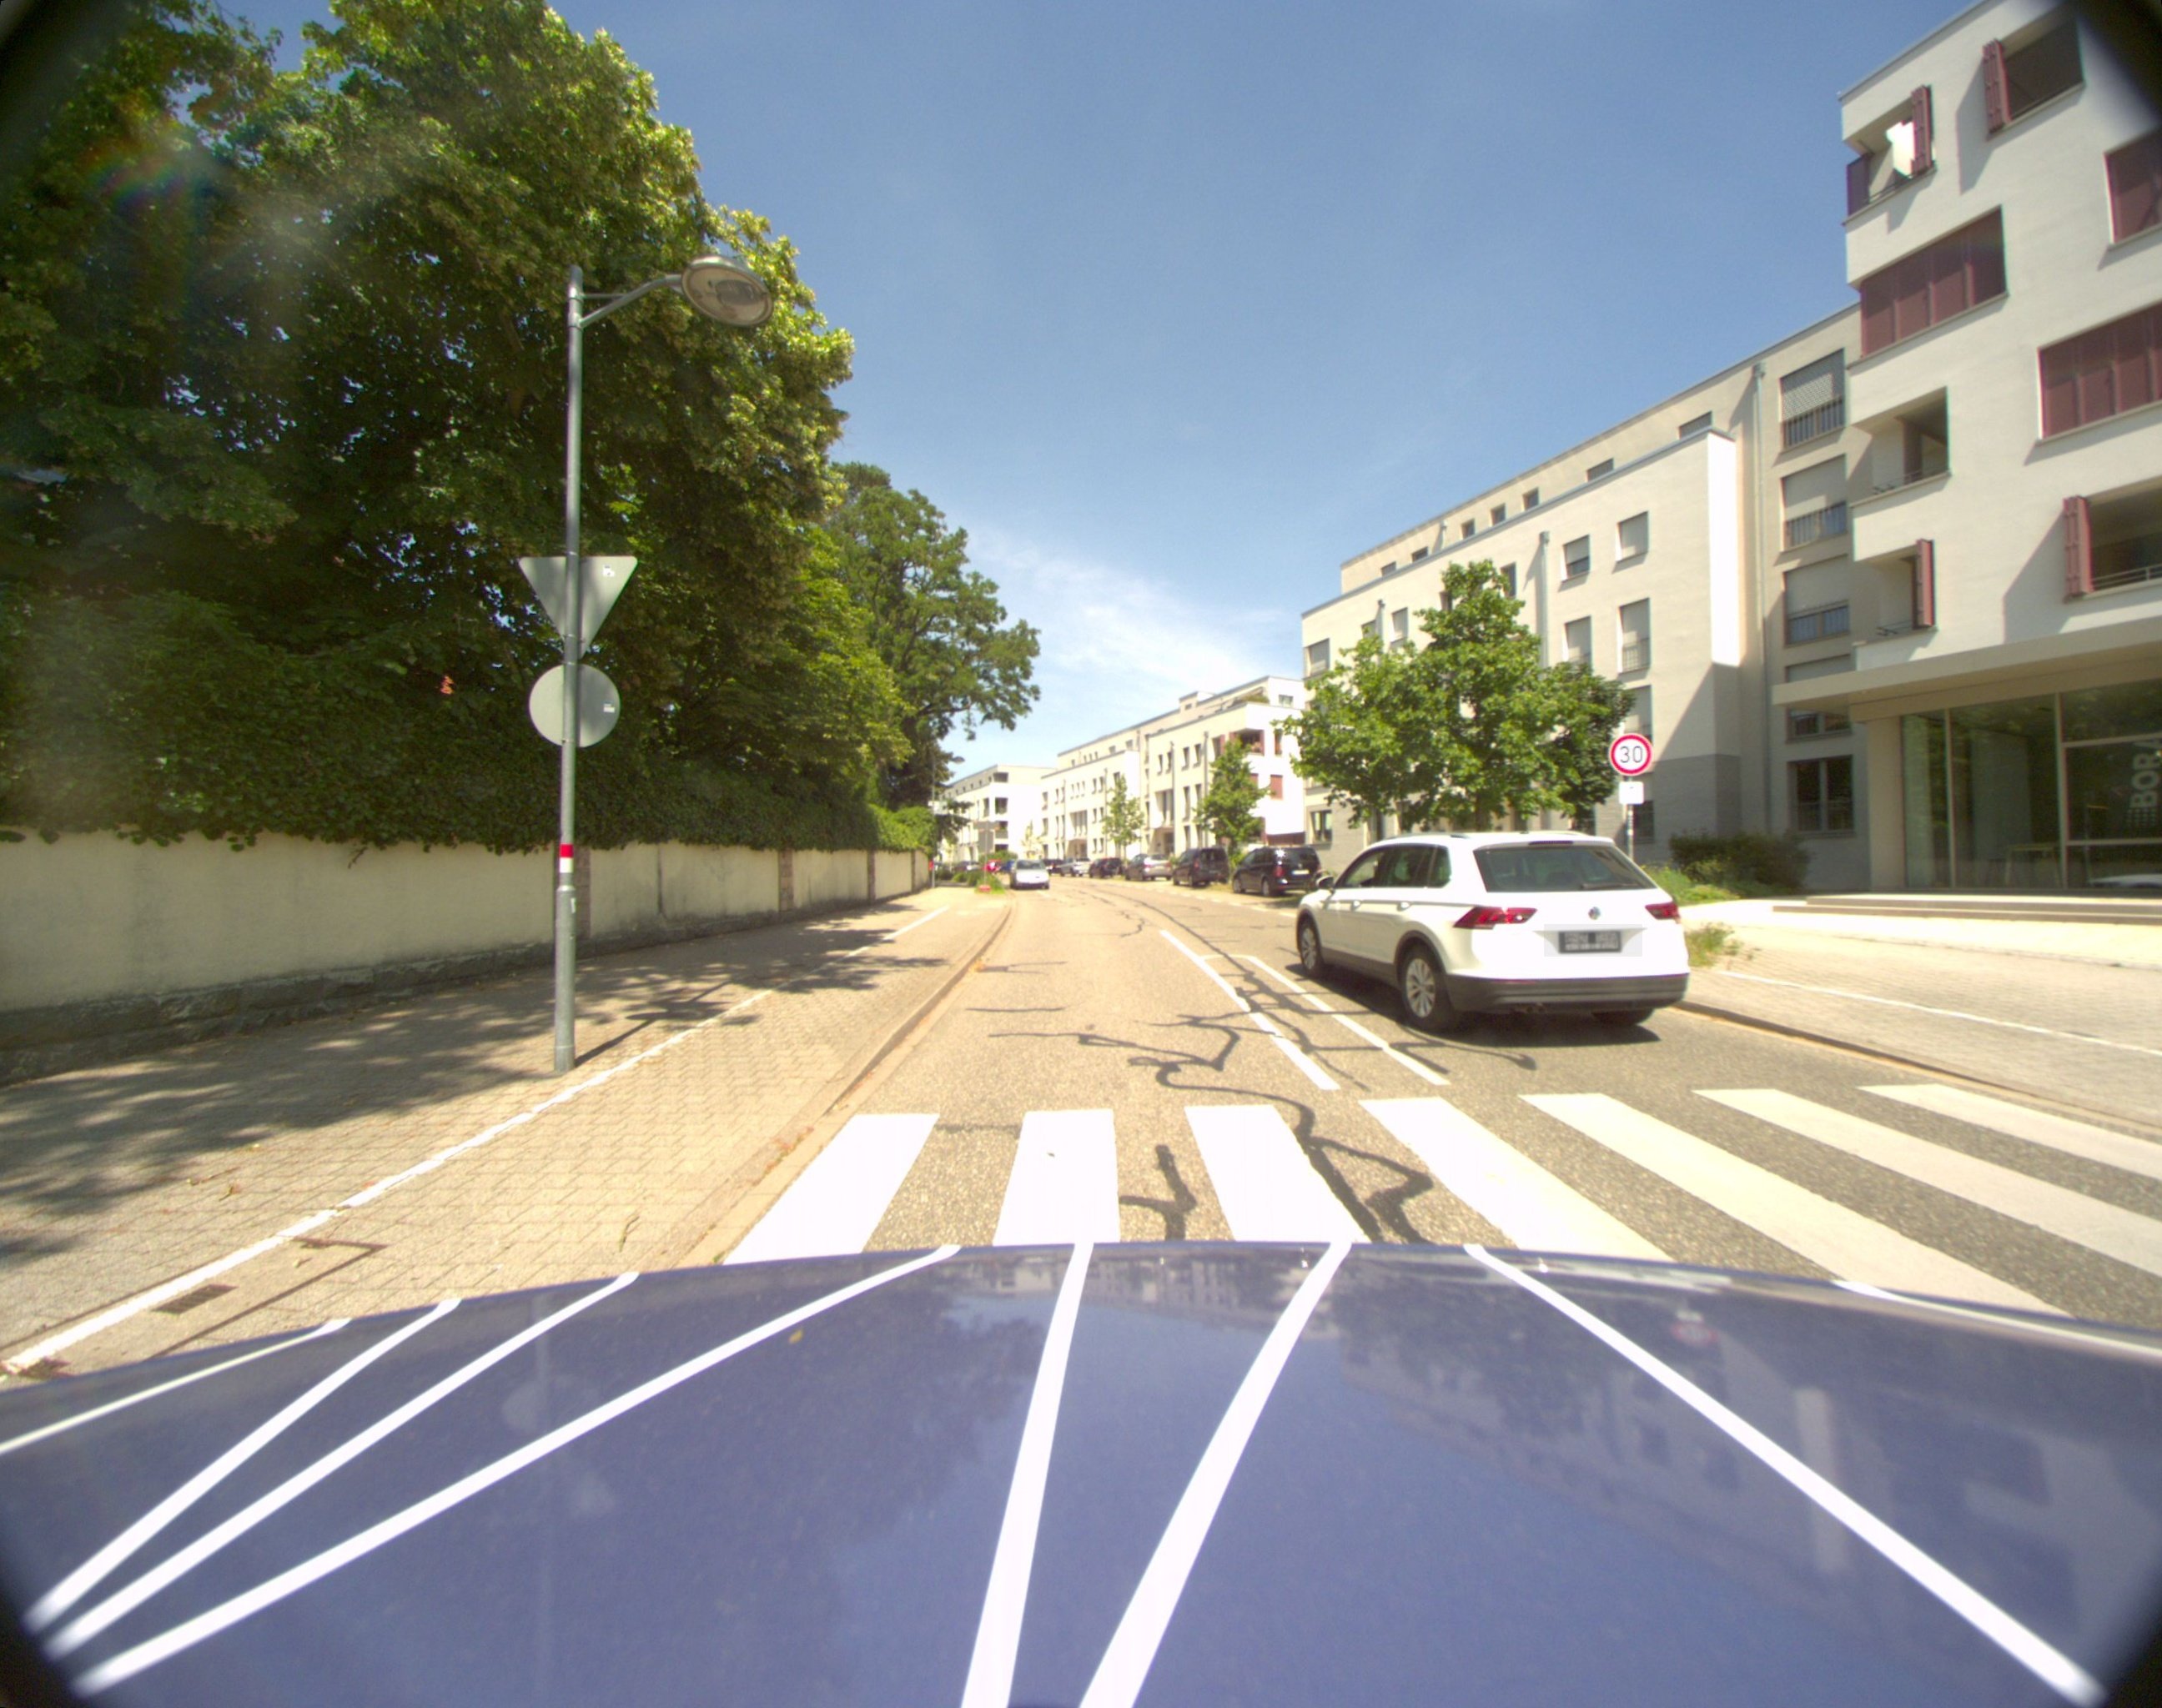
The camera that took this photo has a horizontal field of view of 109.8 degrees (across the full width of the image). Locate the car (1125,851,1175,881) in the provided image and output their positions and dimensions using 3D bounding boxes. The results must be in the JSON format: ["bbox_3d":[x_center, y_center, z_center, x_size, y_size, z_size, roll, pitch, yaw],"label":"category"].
[{"bbox_3d":[3.907,0.647,43.379,1.792,1.580,3.623,-1,0,-13],"label":"car"}]

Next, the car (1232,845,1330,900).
[{"bbox_3d":[6.518,0.556,25.173,1.699,1.628,4.018,-1,0,-8],"label":"car"}]

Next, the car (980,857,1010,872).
[{"bbox_3d":[-8.799,1.068,77.731,1.710,1.405,3.713,-2,0,-29],"label":"car"}]

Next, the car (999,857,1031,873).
[{"bbox_3d":[-6.375,1.051,72.921,1.710,1.405,3.713,-2,0,-29],"label":"car"}]

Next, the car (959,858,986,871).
[{"bbox_3d":[-11.950,1.129,83.303,1.710,1.405,3.713,-2,0,-29],"label":"car"}]

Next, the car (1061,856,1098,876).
[{"bbox_3d":[-0.148,0.908,57.459,1.708,1.405,3.716,-1,0,-17],"label":"car"}]

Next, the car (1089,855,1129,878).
[{"bbox_3d":[1.870,0.814,51.438,1.708,1.405,3.623,-1,0,-14],"label":"car"}]

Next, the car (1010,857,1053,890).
[{"bbox_3d":[-2.438,0.892,36.569,1.608,1.443,3.996,-1,0,-10],"label":"car"}]

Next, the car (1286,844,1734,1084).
[{"bbox_3d":[3.514,0.740,7.267,1.815,1.599,4.119,-1,0,-3],"label":"car"}]

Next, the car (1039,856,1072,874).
[{"bbox_3d":[-2.195,0.918,63.636,1.709,1.405,3.715,-1,0,-20],"label":"car"}]

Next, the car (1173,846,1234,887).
[{"bbox_3d":[5.395,0.536,33.885,1.699,1.690,3.625,-1,0,-8],"label":"car"}]
